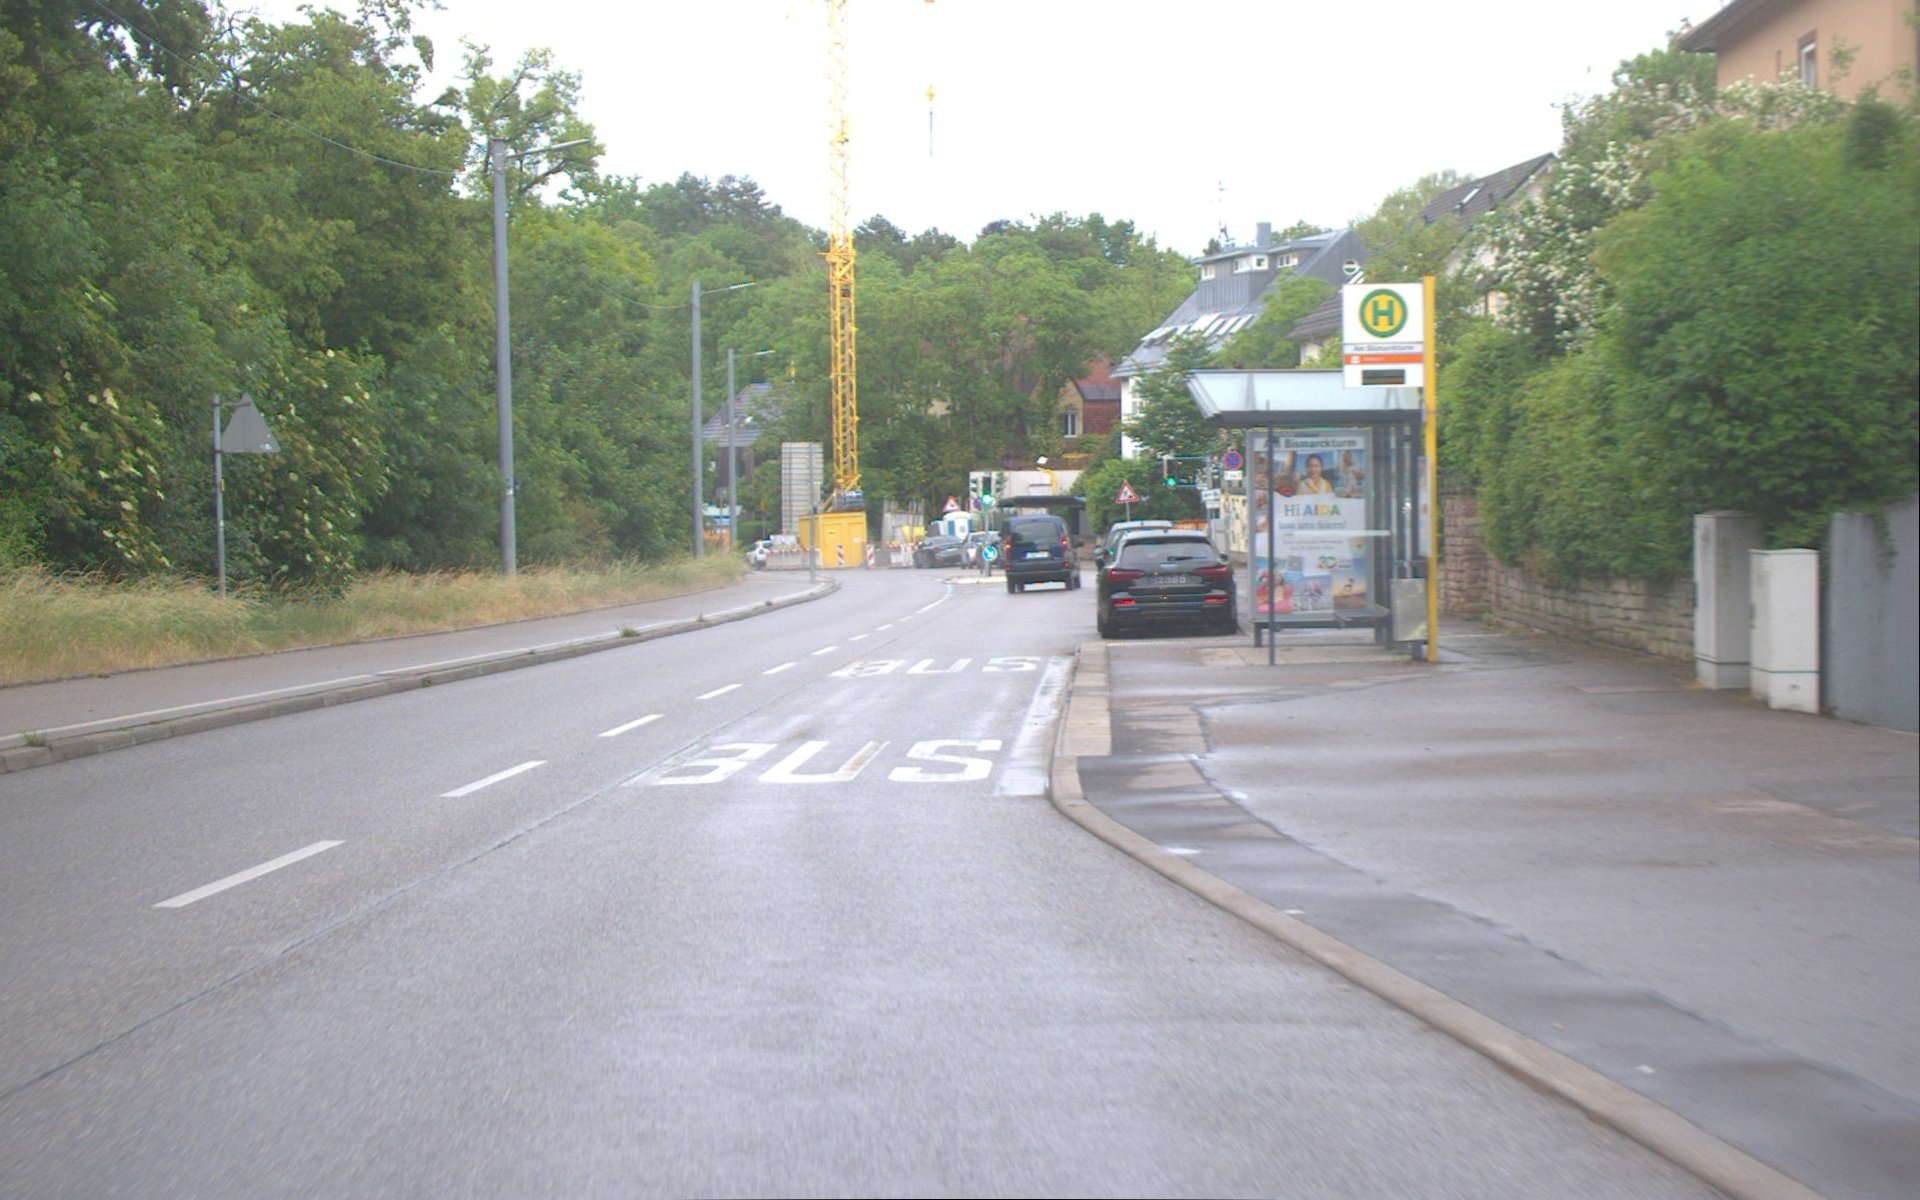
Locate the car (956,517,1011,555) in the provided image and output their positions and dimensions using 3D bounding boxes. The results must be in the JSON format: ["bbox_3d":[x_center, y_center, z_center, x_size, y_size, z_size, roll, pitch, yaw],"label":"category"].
[{"bbox_3d":[0.942,-2.600,139.712,1.672,1.452,3.387,-3,1,-9],"label":"car"}]

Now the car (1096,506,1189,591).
[{"bbox_3d":[3.646,-1.063,68.925,1.730,1.562,4.522,-3,2,3],"label":"car"}]

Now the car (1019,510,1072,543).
[{"bbox_3d":[3.877,-3.347,157.031,1.694,1.467,4.001,1,1,-9],"label":"car"}]

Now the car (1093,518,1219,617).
[{"bbox_3d":[3.026,-0.500,52.632,1.813,1.393,4.102,-2,0,4],"label":"car"}]

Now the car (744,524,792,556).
[{"bbox_3d":[-10.917,-3.404,195.321,1.744,1.700,4.503,-4,2,-14],"label":"car"}]

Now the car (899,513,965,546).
[{"bbox_3d":[-1.282,-3.162,153.400,1.931,1.417,4.839,0,1,-13],"label":"car"}]

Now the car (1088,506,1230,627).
[{"bbox_3d":[2.807,-0.462,47.840,1.830,1.542,4.629,-2,0,4],"label":"car"}]

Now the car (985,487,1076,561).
[{"bbox_3d":[1.706,-1.841,84.580,1.931,1.745,4.001,1,1,-3],"label":"car"}]
